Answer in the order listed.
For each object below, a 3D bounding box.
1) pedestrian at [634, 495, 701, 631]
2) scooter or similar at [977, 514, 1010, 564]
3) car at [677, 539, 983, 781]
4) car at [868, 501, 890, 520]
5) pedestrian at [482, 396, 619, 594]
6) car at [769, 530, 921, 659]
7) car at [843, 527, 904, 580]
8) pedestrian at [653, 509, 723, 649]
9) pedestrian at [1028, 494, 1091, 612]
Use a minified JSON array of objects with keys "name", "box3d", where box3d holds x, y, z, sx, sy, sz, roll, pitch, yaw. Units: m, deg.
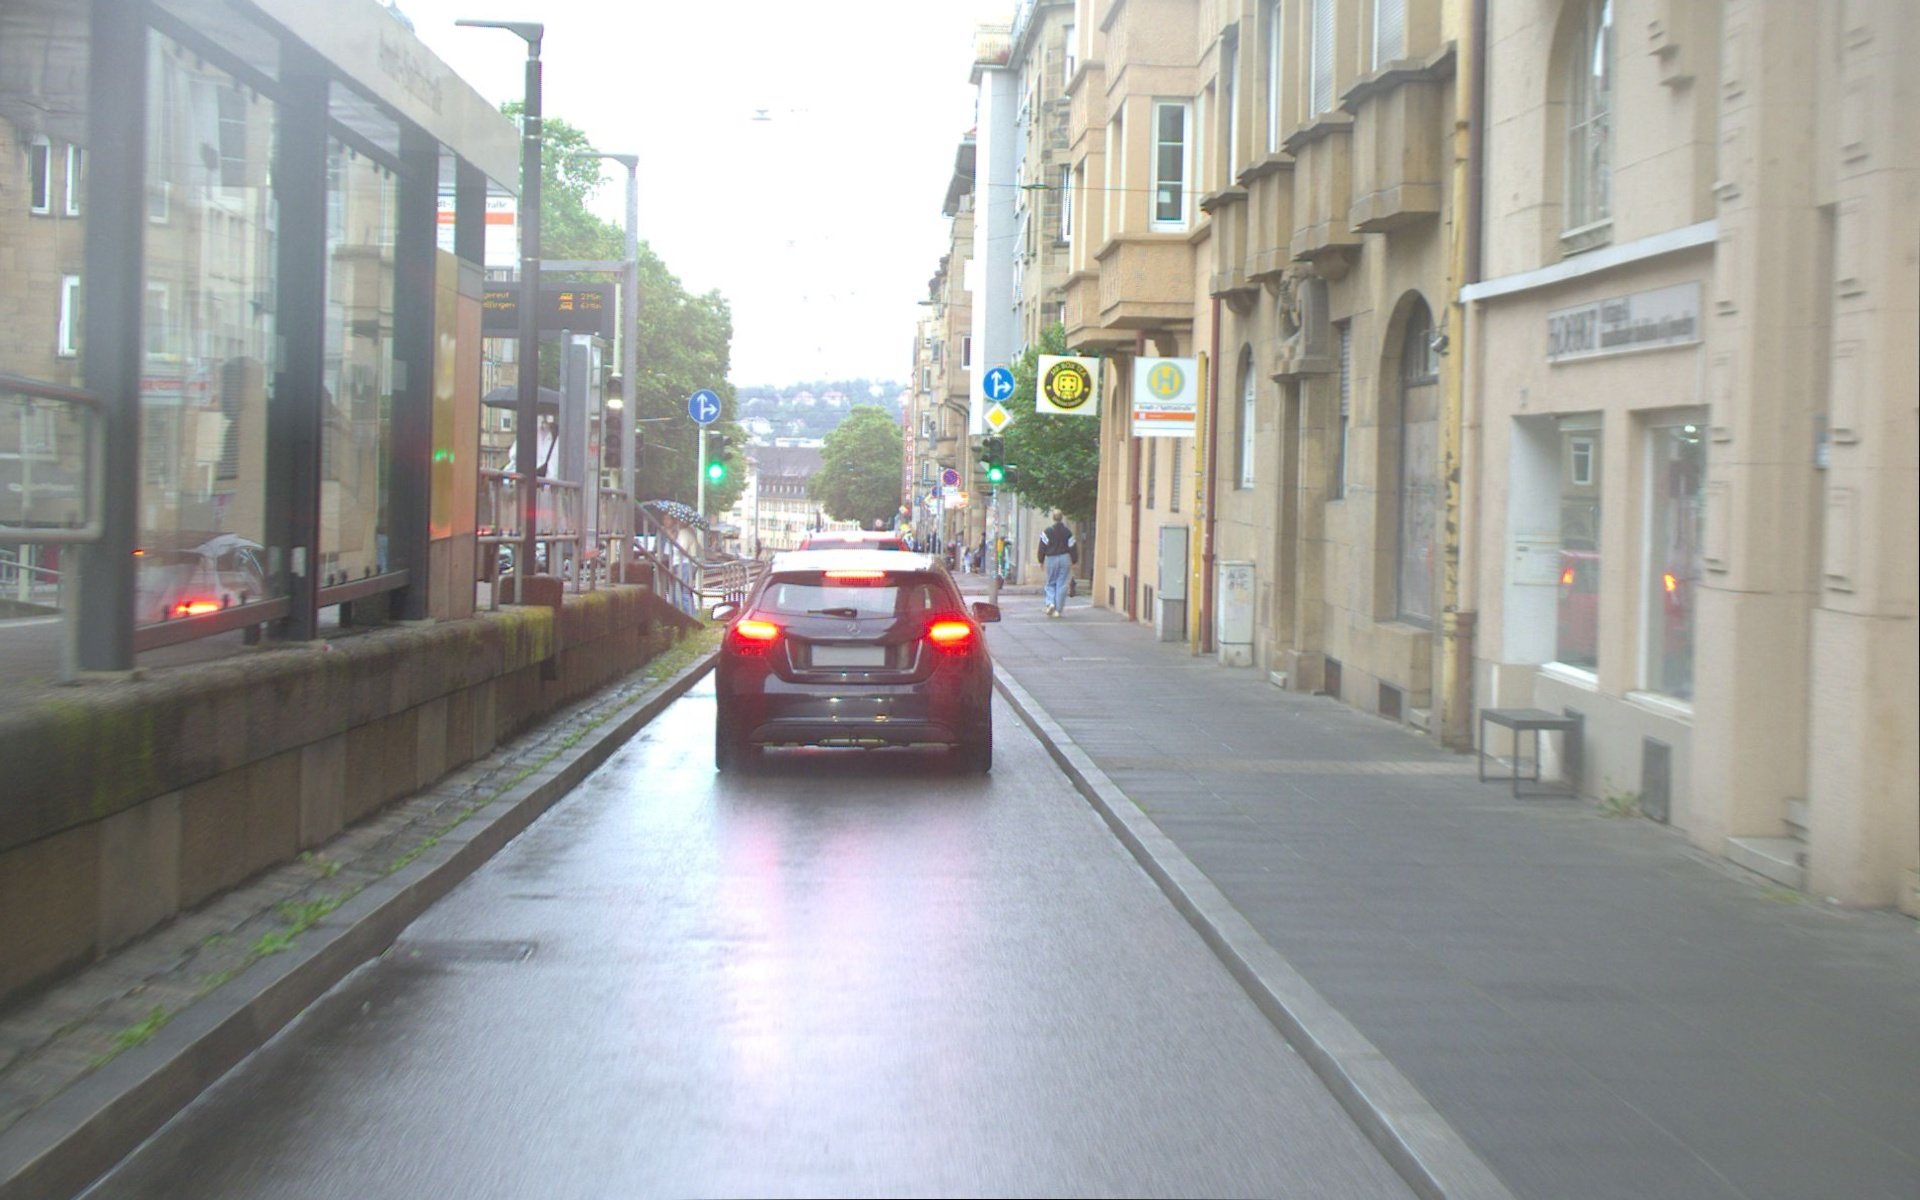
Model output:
[{"name":"pedestrian","box3d":[-4.403,-0.557,51.808,0.897,2.007,0.947,1,1,-1]},{"name":"scooter or similar","box3d":[0.808,-1.470,82.893,0.638,1.206,1.553,0,1,-6]},{"name":"car","box3d":[-0.791,0.333,23.187,1.866,1.447,4.000,1,1,0]},{"name":"car","box3d":[-6.010,-6.609,254.565,1.613,1.313,4.000,2,1,-1]},{"name":"pedestrian","box3d":[-3.765,-0.962,31.674,1.114,1.768,1.111,1,1,-1]},{"name":"car","box3d":[-1.342,-0.104,41.305,1.649,1.447,4.000,1,1,0]},{"name":"car","box3d":[-2.600,-1.398,103.417,1.765,1.553,4.746,0,1,-1]},{"name":"pedestrian","box3d":[-3.986,-0.309,50.400,0.926,2.007,0.947,1,1,-1]},{"name":"pedestrian","box3d":[1.602,-0.758,55.336,0.899,1.834,0.968,-3,1,3]}]
